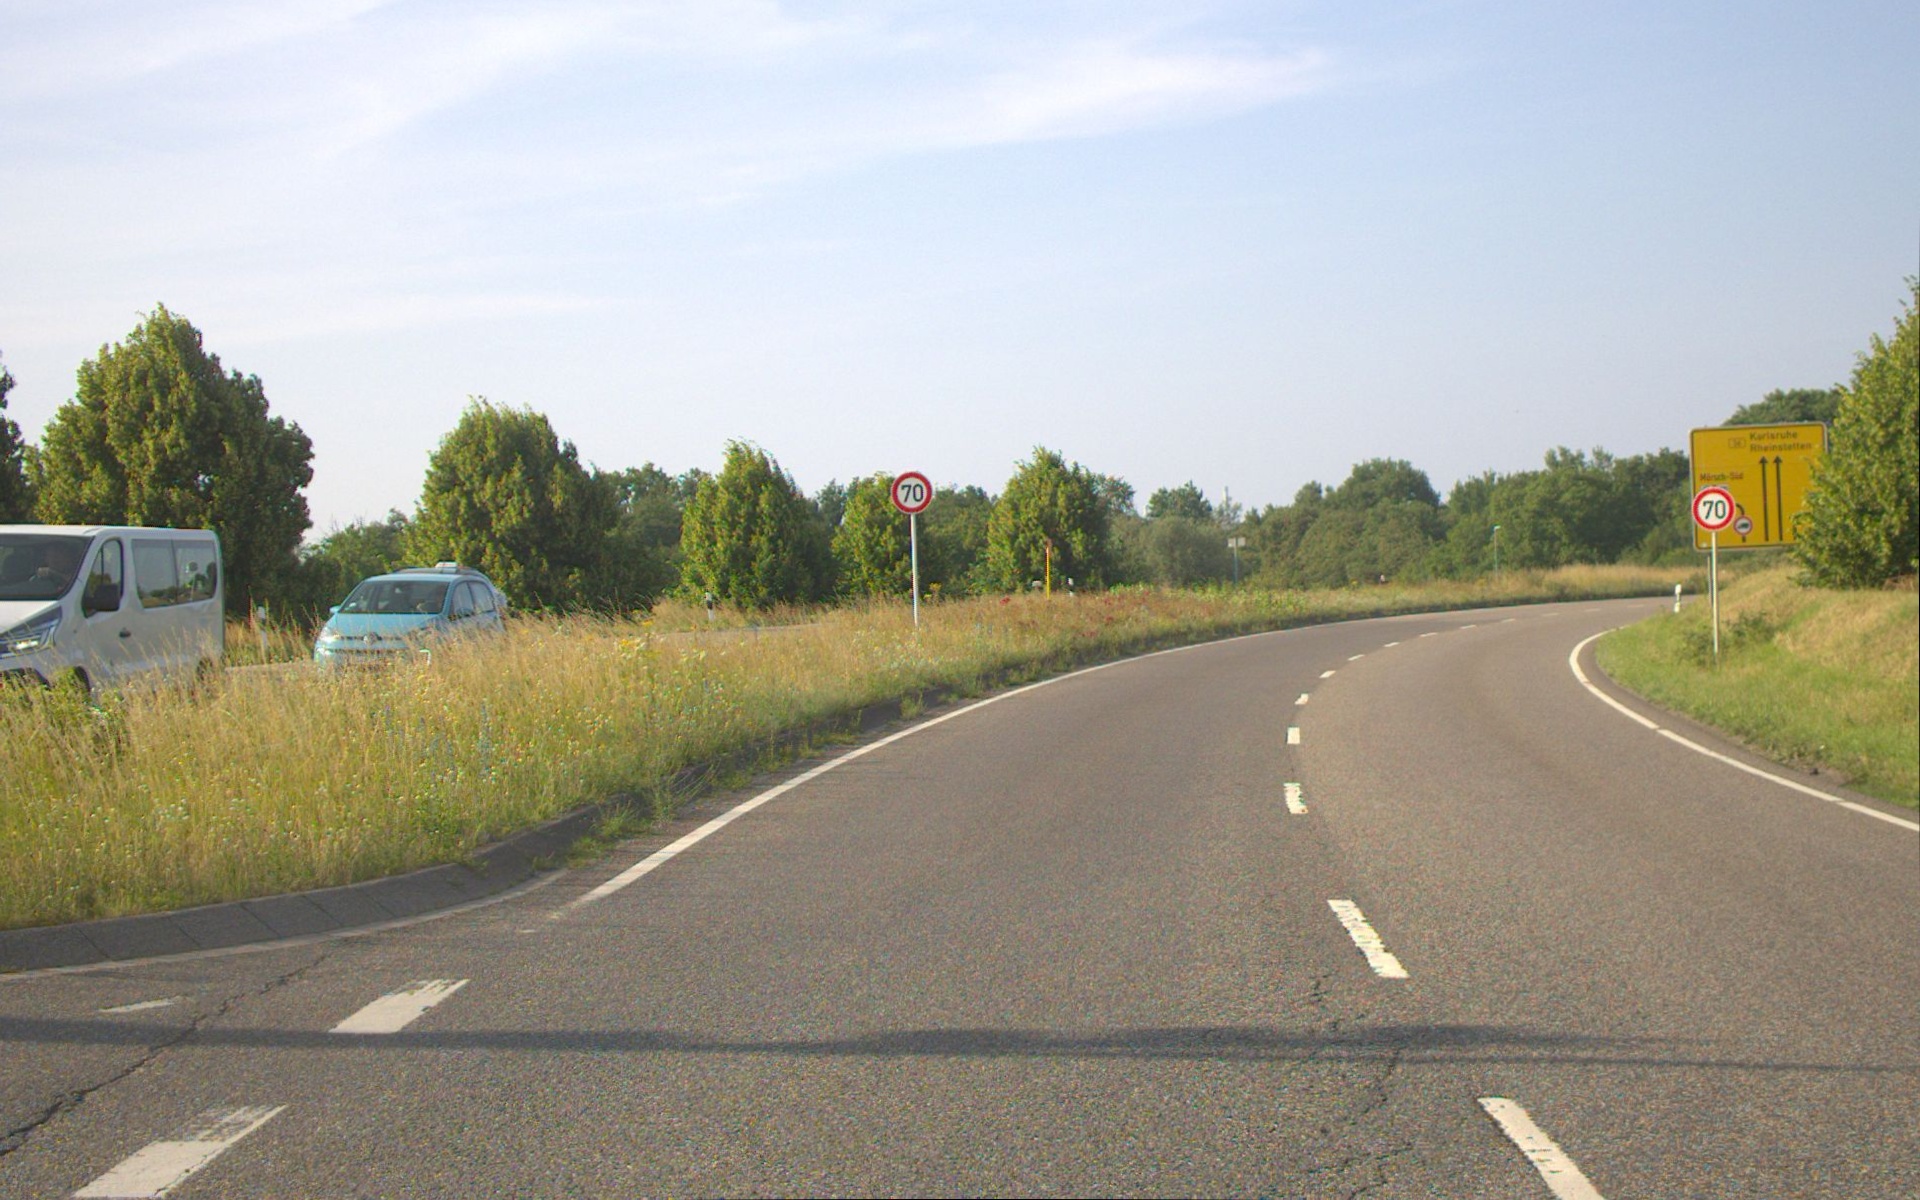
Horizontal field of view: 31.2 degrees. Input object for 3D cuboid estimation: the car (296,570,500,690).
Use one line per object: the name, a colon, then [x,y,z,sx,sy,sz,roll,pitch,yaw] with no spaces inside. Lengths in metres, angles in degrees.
car: [-7.021,0.352,43.289,1.679,1.438,3.751,0,0,5]

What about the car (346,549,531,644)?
car: [-8.886,-0.082,58.916,1.913,1.560,4.609,0,1,8]

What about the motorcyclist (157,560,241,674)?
motorcyclist: [-10.763,0.233,48.666,0.752,1.599,1.249,0,0,9]

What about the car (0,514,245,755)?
car: [-8.094,0.256,30.109,1.994,1.897,5.788,0,0,5]
